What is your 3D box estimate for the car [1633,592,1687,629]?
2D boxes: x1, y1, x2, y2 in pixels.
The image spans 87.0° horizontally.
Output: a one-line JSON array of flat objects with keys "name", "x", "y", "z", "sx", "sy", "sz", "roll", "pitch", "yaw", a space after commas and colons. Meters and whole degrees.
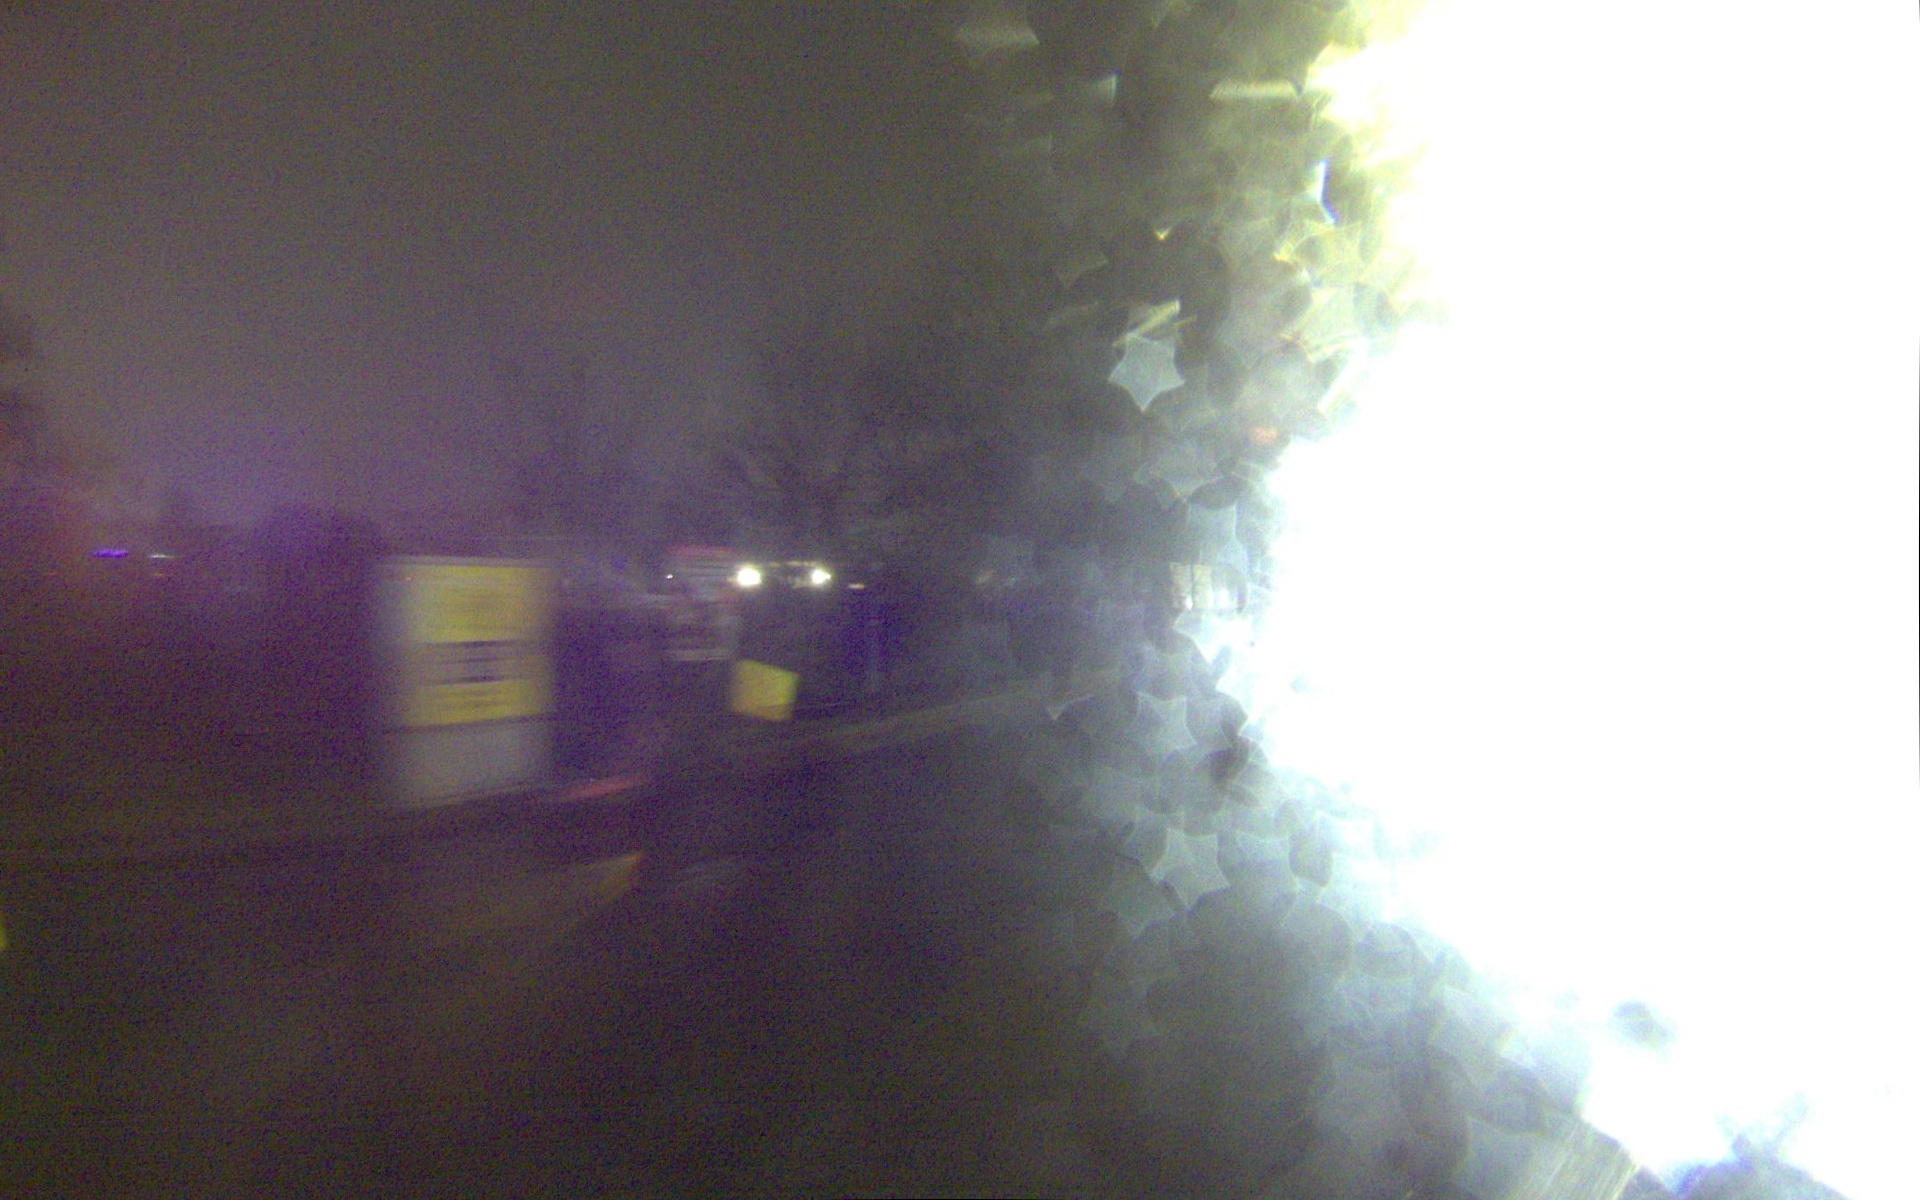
[{"name": "car", "x": 34.340, "y": 0.478, "z": 49.723, "sx": 1.820, "sy": 1.728, "sz": 4.149, "roll": -1, "pitch": 0, "yaw": 30}]

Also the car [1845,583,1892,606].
[{"name": "car", "x": 70.724, "y": -0.431, "z": 78.840, "sx": 1.819, "sy": 1.735, "sz": 4.393, "roll": -1, "pitch": 0, "yaw": 30}]

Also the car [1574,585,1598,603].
[{"name": "car", "x": 61.468, "y": -0.594, "z": 99.405, "sx": 1.820, "sy": 1.728, "sz": 3.906, "roll": -1, "pitch": 0, "yaw": 31}]

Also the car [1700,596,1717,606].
[{"name": "car", "x": 118.895, "y": 0.154, "z": 160.810, "sx": 1.834, "sy": 1.613, "sz": 4.316, "roll": -1, "pitch": 0, "yaw": 32}]

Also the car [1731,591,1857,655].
[{"name": "car", "x": 22.233, "y": 0.548, "z": 27.166, "sx": 1.820, "sy": 1.546, "sz": 4.822, "roll": -1, "pitch": 0, "yaw": 30}]

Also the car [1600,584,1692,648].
[{"name": "car", "x": 20.174, "y": 0.427, "z": 29.926, "sx": 1.935, "sy": 1.741, "sz": 4.394, "roll": -1, "pitch": 0, "yaw": 30}]

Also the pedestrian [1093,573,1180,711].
[{"name": "pedestrian", "x": 2.022, "y": 0.461, "z": 11.553, "sx": 0.722, "sy": 1.504, "sz": 0.827, "roll": -1, "pitch": -1, "yaw": 30}]

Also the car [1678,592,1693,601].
[{"name": "car", "x": 130.238, "y": -0.675, "z": 181.803, "sx": 1.834, "sy": 1.613, "sz": 4.316, "roll": -1, "pitch": 0, "yaw": 32}]

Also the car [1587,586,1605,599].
[{"name": "car", "x": 84.144, "y": -1.024, "z": 133.975, "sx": 1.820, "sy": 1.728, "sz": 3.906, "roll": -1, "pitch": 0, "yaw": 31}]

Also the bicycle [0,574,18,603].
[{"name": "bicycle", "x": -33.284, "y": -0.410, "z": 34.477, "sx": 0.608, "sy": 0.989, "sz": 2.426, "roll": -1, "pitch": 0, "yaw": -13}]
